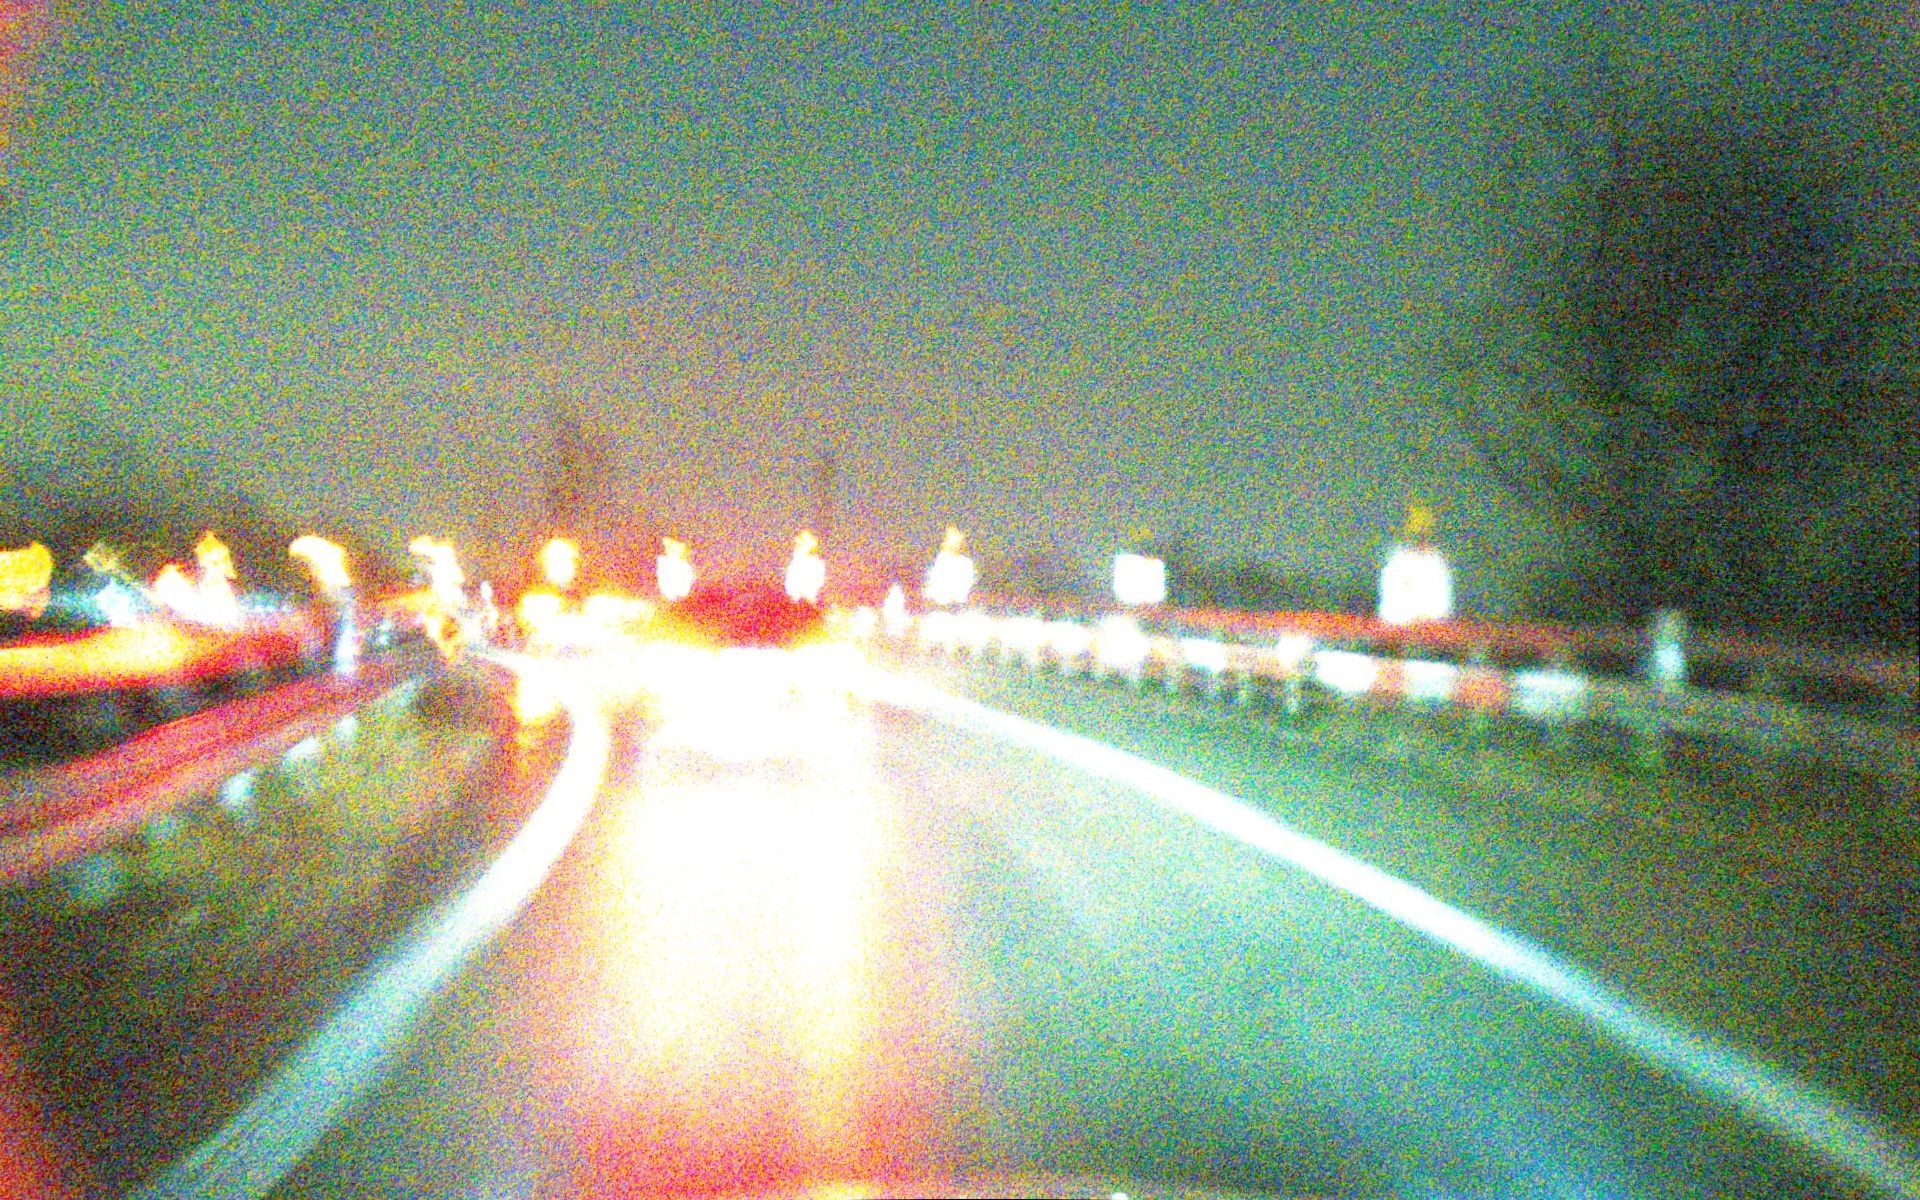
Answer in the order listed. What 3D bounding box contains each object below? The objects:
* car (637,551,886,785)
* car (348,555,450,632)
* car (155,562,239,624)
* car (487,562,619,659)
[{"bbox_3d":[-1.816,0.438,14.240,1.827,1.675,4.059,0,2,-10],"label":"car"},{"bbox_3d":[-15.982,-0.194,46.993,1.877,2.076,4.001,0,0,-32],"label":"car"},{"bbox_3d":[-25.948,-0.259,56.208,1.880,2.032,3.995,-1,1,-35],"label":"car"},{"bbox_3d":[-7.938,0.151,31.991,1.870,1.750,4.017,0,1,-23],"label":"car"}]
